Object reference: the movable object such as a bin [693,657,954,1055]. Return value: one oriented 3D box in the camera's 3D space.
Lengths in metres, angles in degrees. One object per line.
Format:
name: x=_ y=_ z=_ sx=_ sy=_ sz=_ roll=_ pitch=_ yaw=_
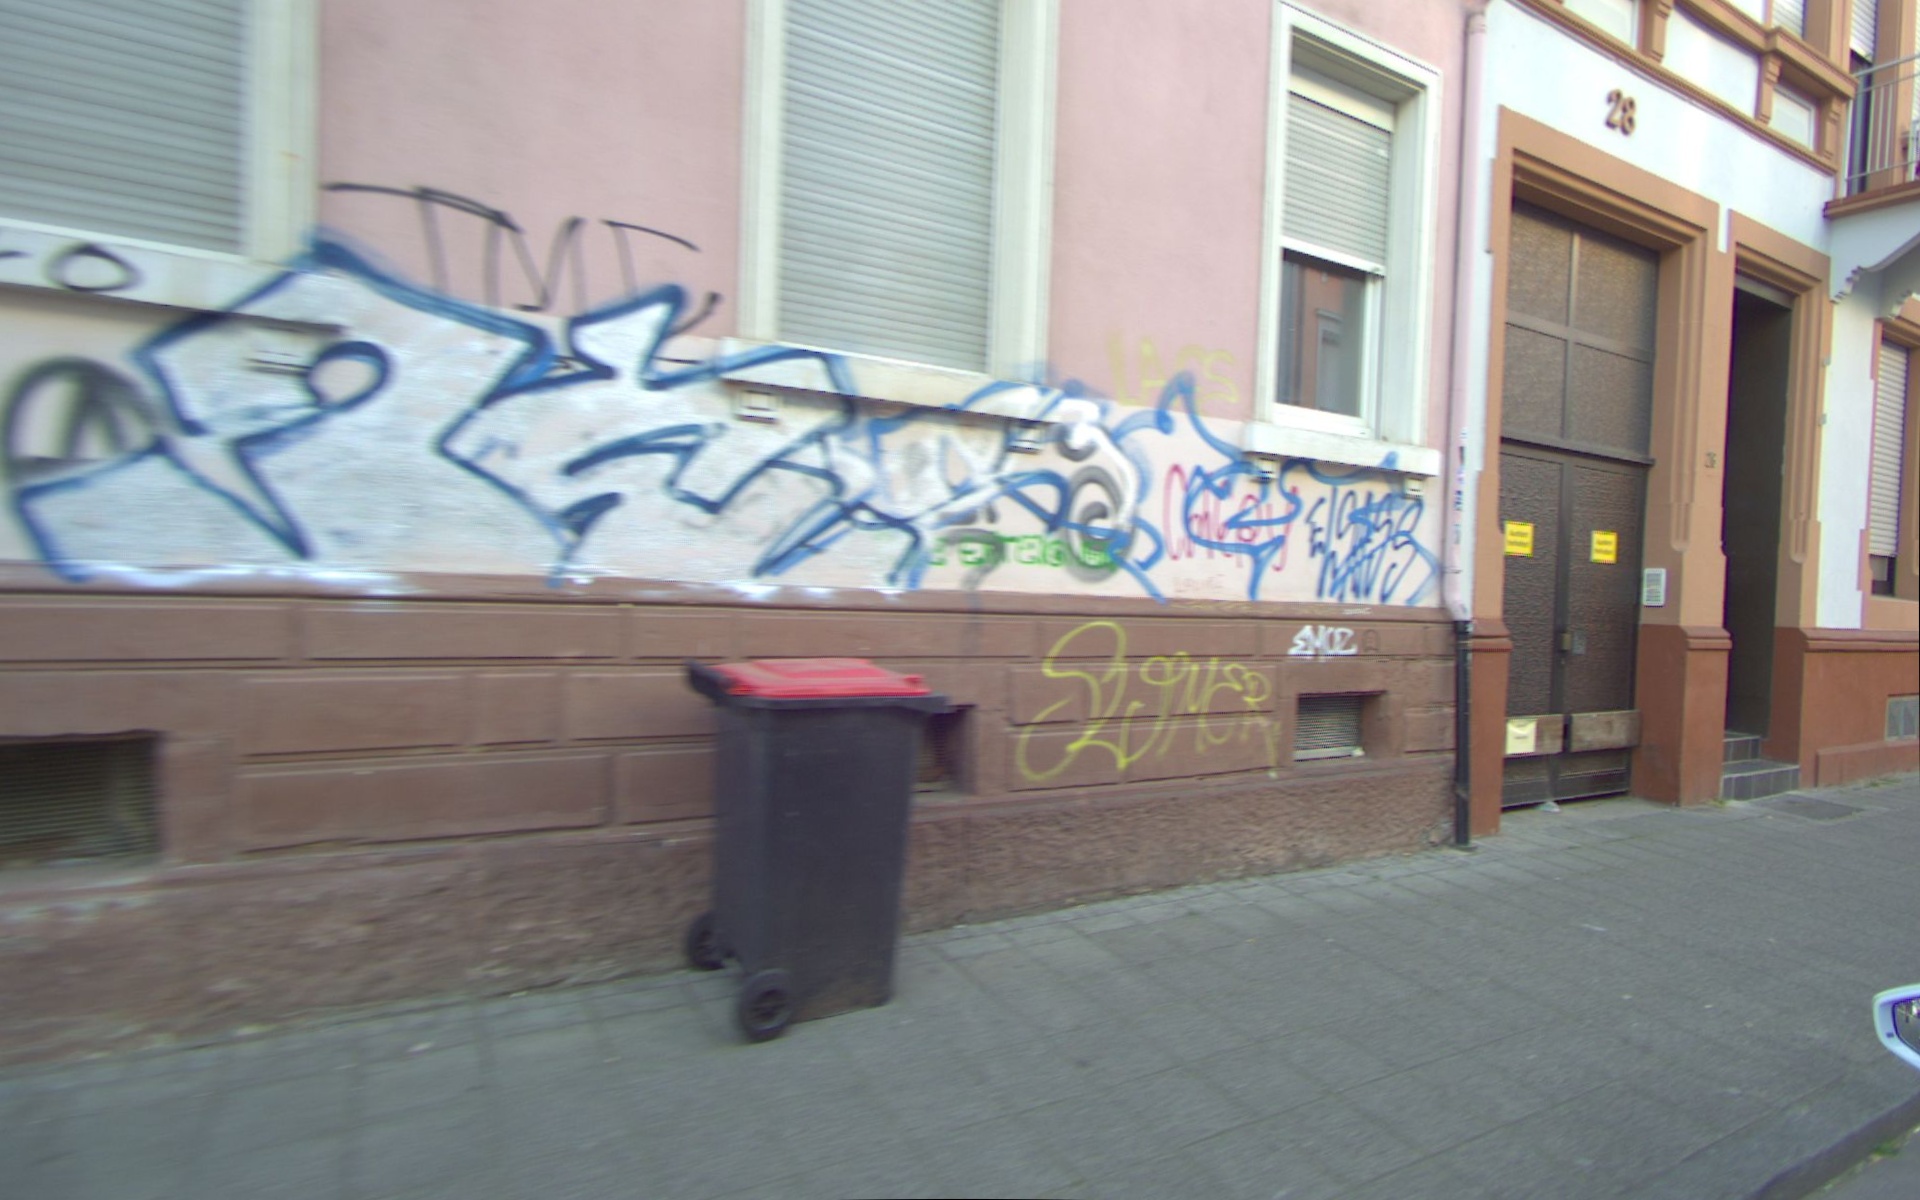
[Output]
movable object such as a bin: x=-0.450 y=0.736 z=3.192 sx=0.589 sy=1.049 sz=0.602 roll=2 pitch=2 yaw=-31
